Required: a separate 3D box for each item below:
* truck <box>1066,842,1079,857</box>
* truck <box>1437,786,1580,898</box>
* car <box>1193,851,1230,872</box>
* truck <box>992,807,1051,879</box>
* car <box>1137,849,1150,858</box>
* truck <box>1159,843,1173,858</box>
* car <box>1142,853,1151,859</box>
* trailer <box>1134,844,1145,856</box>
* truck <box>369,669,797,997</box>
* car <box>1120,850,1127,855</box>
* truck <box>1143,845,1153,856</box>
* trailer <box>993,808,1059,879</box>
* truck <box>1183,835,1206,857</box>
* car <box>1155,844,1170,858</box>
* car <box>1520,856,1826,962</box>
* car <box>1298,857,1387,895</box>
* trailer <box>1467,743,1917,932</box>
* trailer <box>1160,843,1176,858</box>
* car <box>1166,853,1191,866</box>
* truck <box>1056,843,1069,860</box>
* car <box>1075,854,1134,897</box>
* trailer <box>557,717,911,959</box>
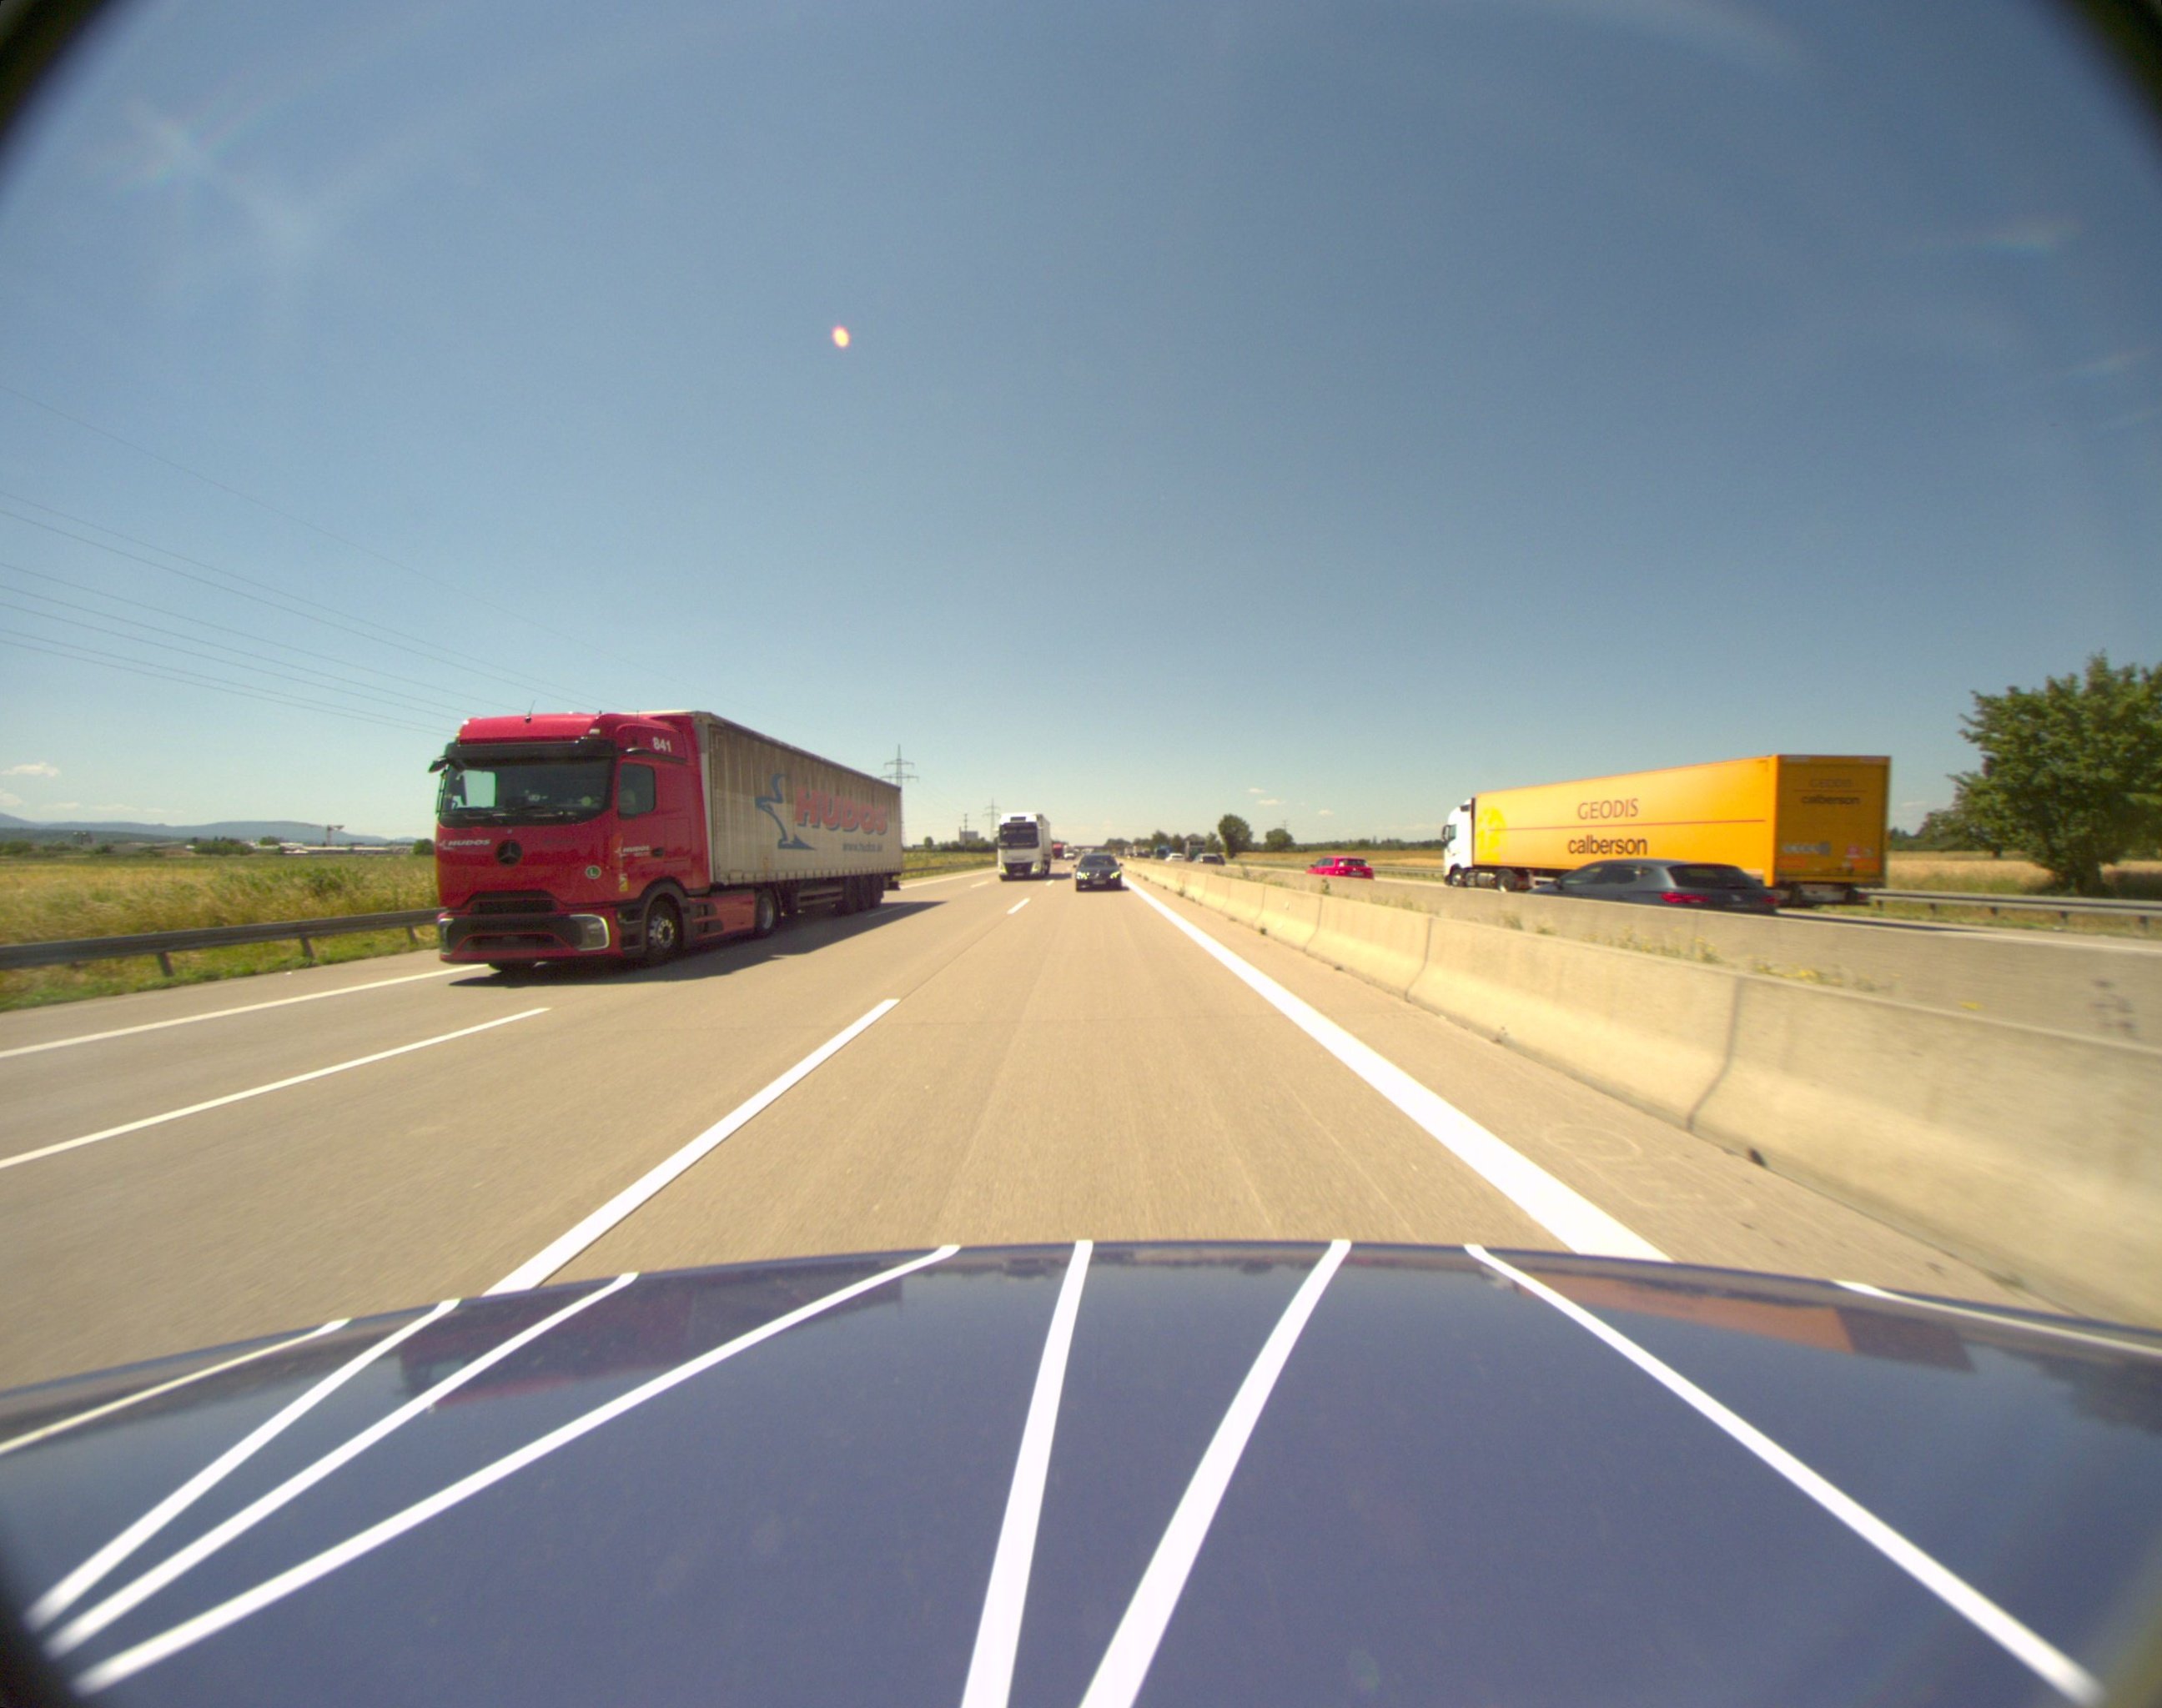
[{"bbox_3d":[-1.989,-1.052,173.989,2.784,3.328,7.812,-2,0,0],"label":"truck"},{"bbox_3d":[17.234,-0.478,31.090,2.875,4.171,5.229,1,1,1],"label":"truck"},{"bbox_3d":[9.643,0.527,56.626,1.998,1.476,4.710,0,0,1],"label":"car"},{"bbox_3d":[-3.509,-0.632,46.180,2.992,4.039,5.478,-2,0,1],"label":"truck"},{"bbox_3d":[11.391,-0.042,139.514,1.998,1.567,4.848,-2,0,1],"label":"car"},{"bbox_3d":[19.639,-0.739,175.645,2.490,3.290,5.263,-2,0,0],"label":"truck"},{"bbox_3d":[15.937,0.423,185.319,1.724,1.440,4.708,-2,0,0],"label":"car"},{"bbox_3d":[20.306,-1.487,263.089,2.915,3.886,12.510,-2,0,1],"label":"trailer"},{"bbox_3d":[-7.522,-0.273,12.838,2.913,4.077,6.271,-2,0,0],"label":"truck"},{"bbox_3d":[12.289,-0.517,219.756,1.784,1.340,4.452,-3,0,-1],"label":"car"},{"bbox_3d":[19.866,-1.003,224.461,2.328,3.066,6.977,-2,0,1],"label":"truck"},{"bbox_3d":[-3.430,-0.628,51.689,3.025,4.037,14.207,-2,0,1],"label":"trailer"},{"bbox_3d":[18.374,-1.221,123.415,2.561,3.492,7.884,0,0,1],"label":"truck"},{"bbox_3d":[14.904,-0.513,139.150,2.154,2.536,6.463,1,0,0],"label":"car"},{"bbox_3d":[8.934,0.726,11.982,1.694,1.324,4.000,-2,0,1],"label":"car"},{"bbox_3d":[10.502,0.817,30.923,1.998,1.386,4.716,1,0,1],"label":"car"},{"bbox_3d":[17.180,-0.410,23.997,2.880,4.173,14.139,1,0,1],"label":"trailer"},{"bbox_3d":[19.566,-0.814,171.311,2.521,3.253,9.252,-2,0,0],"label":"trailer"},{"bbox_3d":[10.074,0.546,78.458,1.998,1.356,4.670,1,0,1],"label":"car"},{"bbox_3d":[-4.913,-0.540,202.560,2.855,4.297,10.886,-2,0,1],"label":"truck"},{"bbox_3d":[0.797,0.730,28.840,1.998,1.462,6.347,0,0,0],"label":"car"},{"bbox_3d":[-7.499,-0.288,19.883,2.881,4.077,13.511,-2,0,0],"label":"trailer"}]
